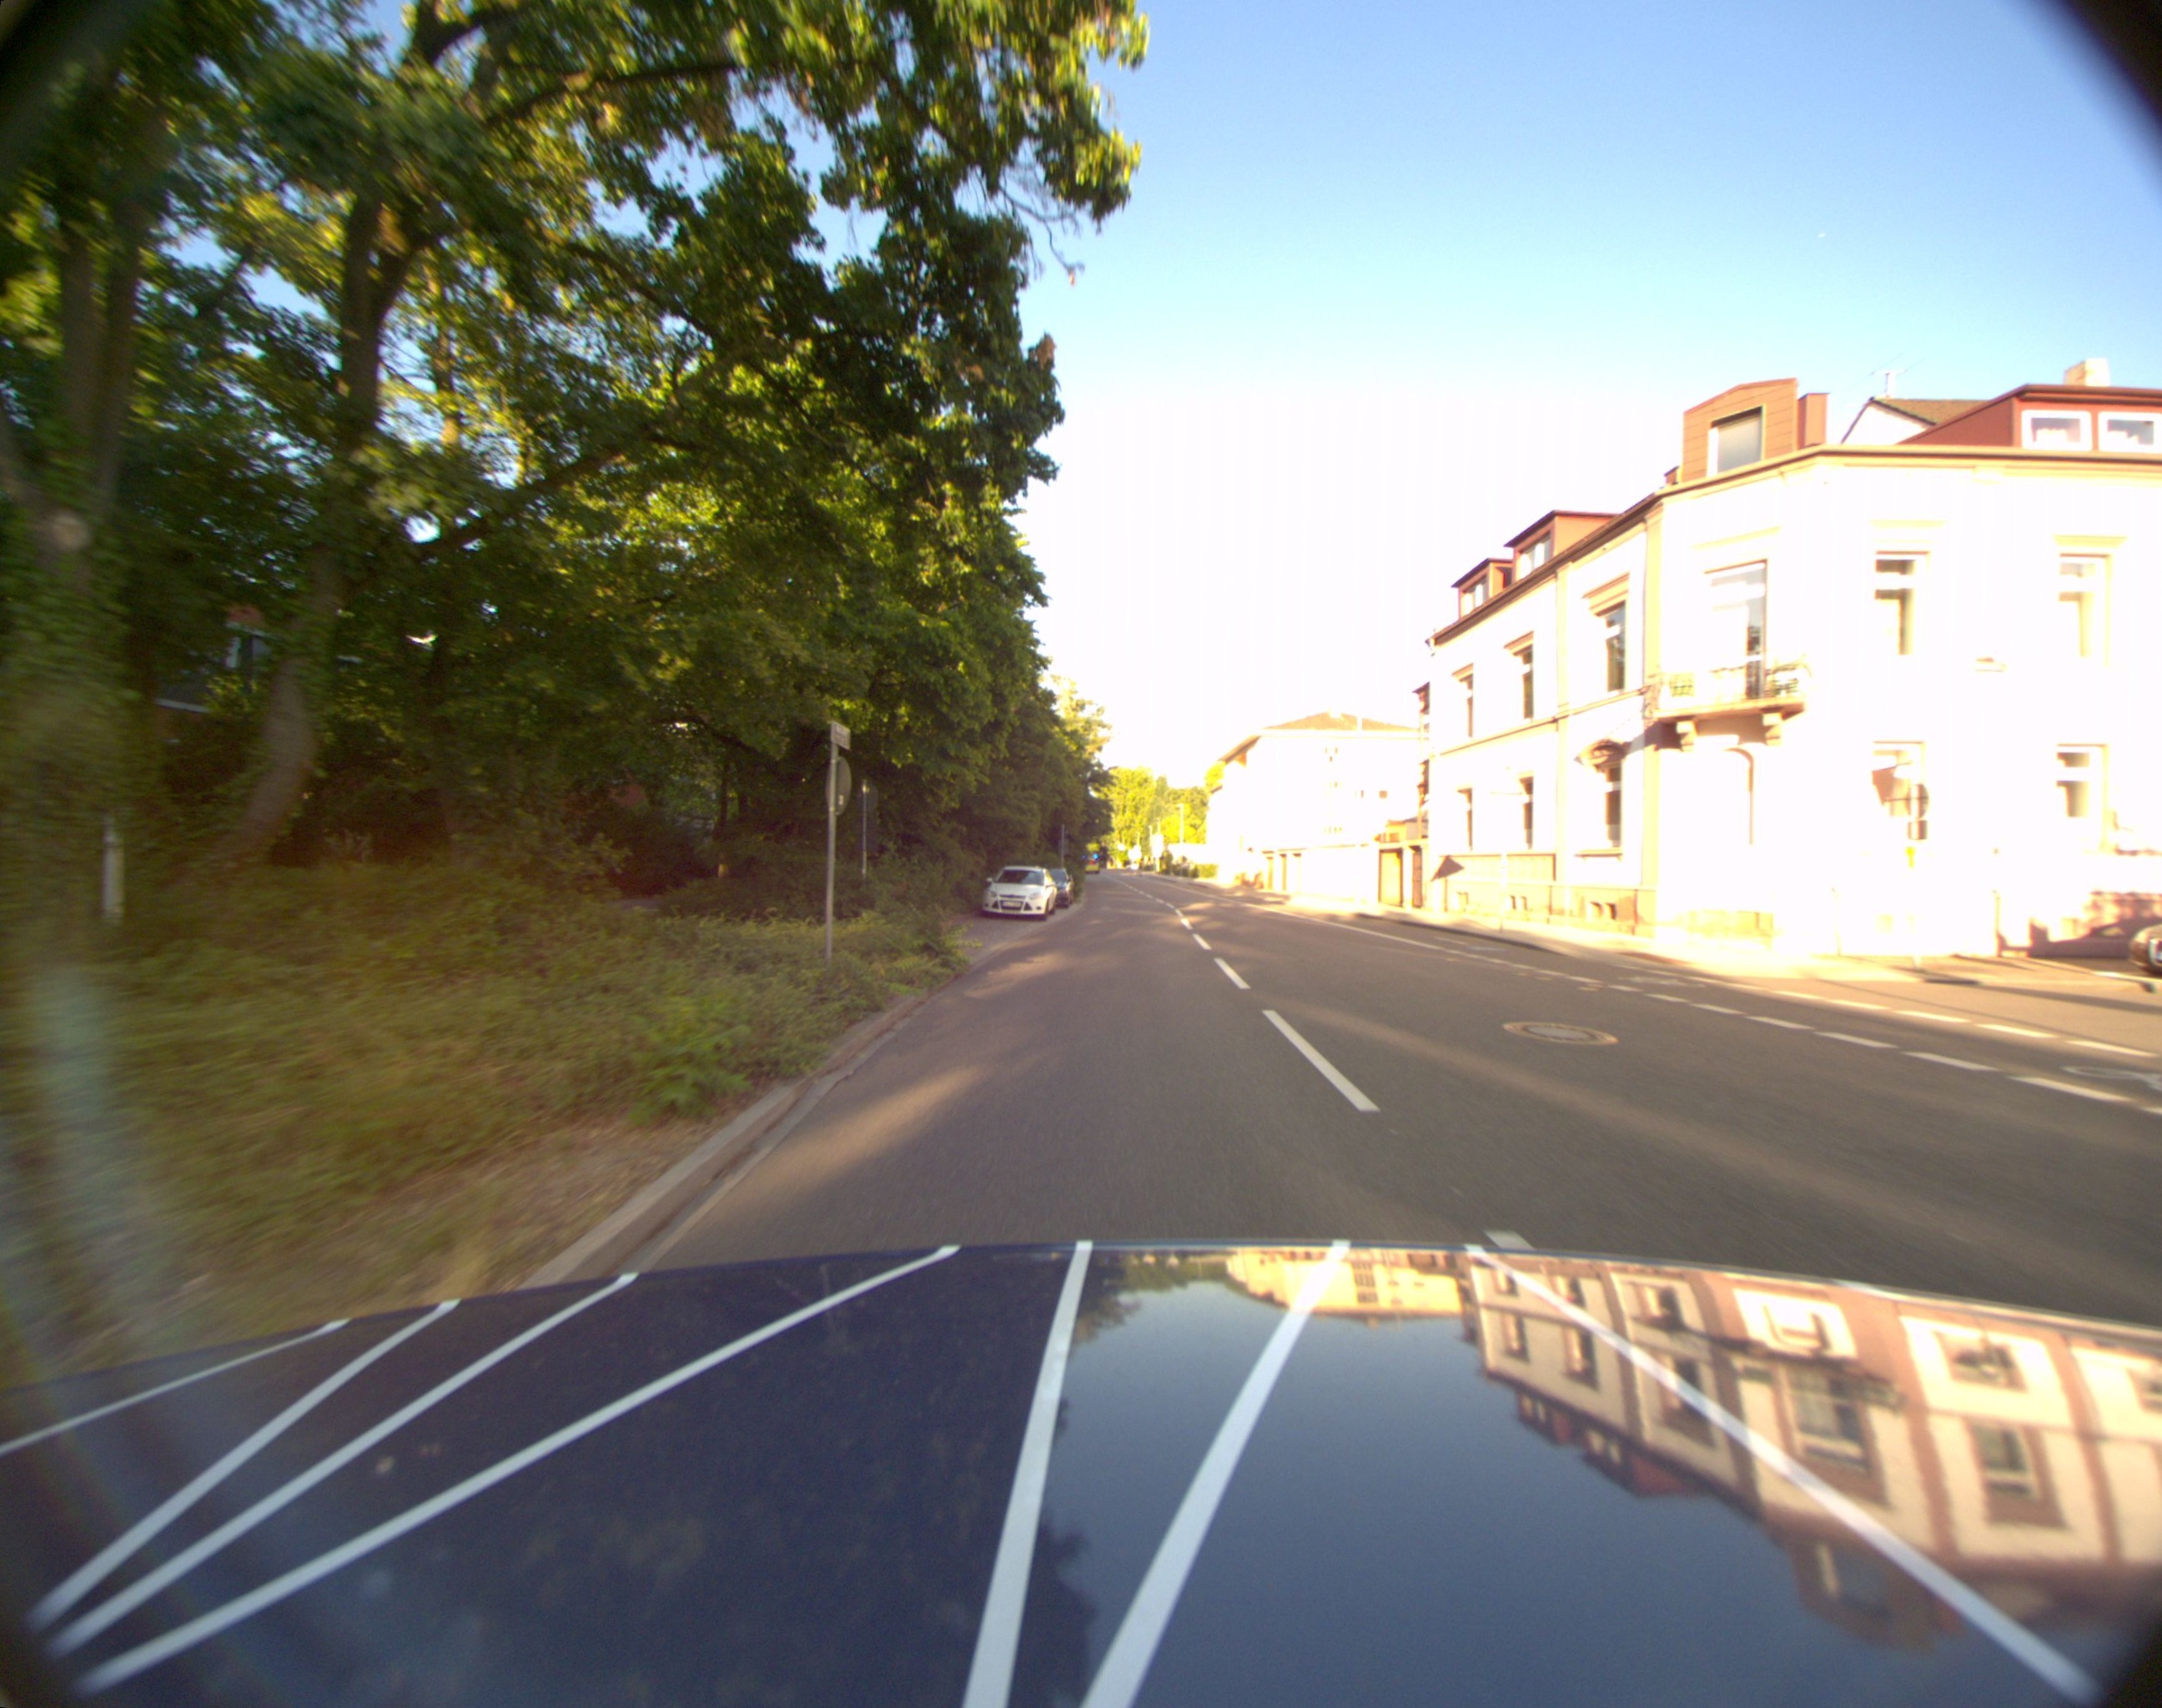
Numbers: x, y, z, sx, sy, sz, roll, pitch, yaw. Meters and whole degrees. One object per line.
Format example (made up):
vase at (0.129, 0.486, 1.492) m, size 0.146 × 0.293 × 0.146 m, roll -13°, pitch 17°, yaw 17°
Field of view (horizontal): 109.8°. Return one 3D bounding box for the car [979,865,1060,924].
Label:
car at (-1.687, 1.106, 22.328) m, size 1.752 × 1.478 × 4.177 m, roll 3°, pitch 0°, yaw 3°

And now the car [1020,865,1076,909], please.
car at (-1.159, 1.183, 28.823) m, size 1.752 × 1.478 × 4.510 m, roll 1°, pitch -1°, yaw 2°

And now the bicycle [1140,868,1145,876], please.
bicycle at (8.300, 2.404, 102.462) m, size 0.576 × 1.055 × 1.849 m, roll 1°, pitch 0°, yaw -1°

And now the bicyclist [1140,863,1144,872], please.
bicyclist at (8.286, 1.858, 102.448) m, size 0.479 × 1.258 × 0.567 m, roll 1°, pitch 0°, yaw -1°

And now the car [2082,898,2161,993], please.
car at (18.790, 1.479, 11.865) m, size 3.916 × 1.430 × 1.904 m, roll 1°, pitch 0°, yaw -2°

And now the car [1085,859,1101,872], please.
car at (1.936, 1.815, 121.030) m, size 2.228 × 2.001 × 4.892 m, roll 1°, pitch -1°, yaw 3°
